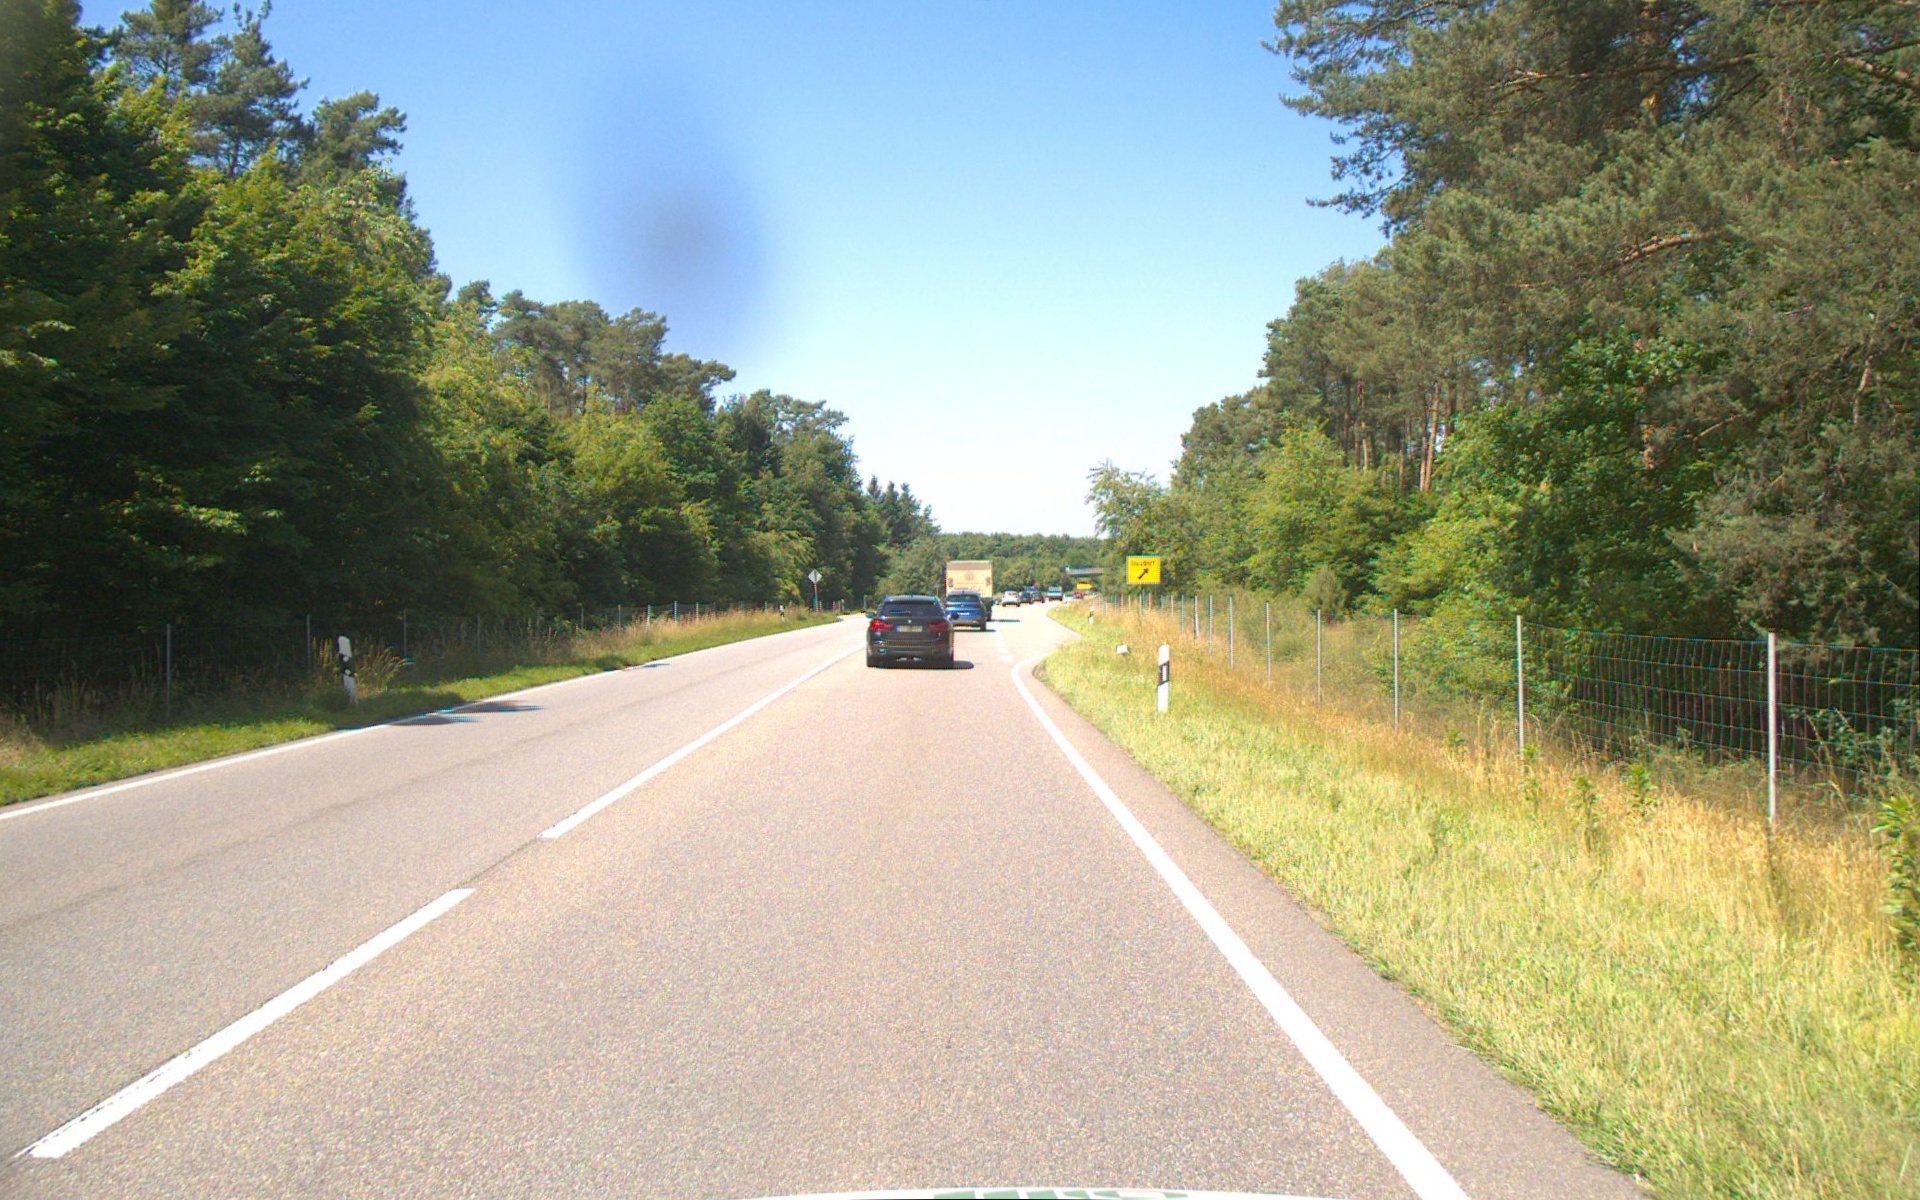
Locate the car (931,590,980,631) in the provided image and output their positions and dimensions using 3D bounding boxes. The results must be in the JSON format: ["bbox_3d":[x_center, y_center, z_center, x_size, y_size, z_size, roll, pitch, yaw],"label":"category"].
[{"bbox_3d":[-0.208,0.420,67.777,1.908,1.568,3.999,-2,0,-1],"label":"car"}]

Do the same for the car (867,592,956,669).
[{"bbox_3d":[-1.085,0.603,35.266,1.784,1.496,3.997,-1,0,-3],"label":"car"}]

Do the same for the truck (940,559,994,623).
[{"bbox_3d":[0.433,-0.520,92.205,2.904,3.446,6.439,-1,1,1],"label":"truck"}]

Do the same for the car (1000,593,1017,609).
[{"bbox_3d":[5.347,0.111,182.212,1.824,1.633,4.001,1,0,3],"label":"car"}]

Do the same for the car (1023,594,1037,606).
[{"bbox_3d":[9.960,-0.008,235.362,1.952,1.665,4.002,-2,0,3],"label":"car"}]

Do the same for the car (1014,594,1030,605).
[{"bbox_3d":[7.917,-0.062,211.605,1.952,1.445,4.001,0,1,2],"label":"car"}]
